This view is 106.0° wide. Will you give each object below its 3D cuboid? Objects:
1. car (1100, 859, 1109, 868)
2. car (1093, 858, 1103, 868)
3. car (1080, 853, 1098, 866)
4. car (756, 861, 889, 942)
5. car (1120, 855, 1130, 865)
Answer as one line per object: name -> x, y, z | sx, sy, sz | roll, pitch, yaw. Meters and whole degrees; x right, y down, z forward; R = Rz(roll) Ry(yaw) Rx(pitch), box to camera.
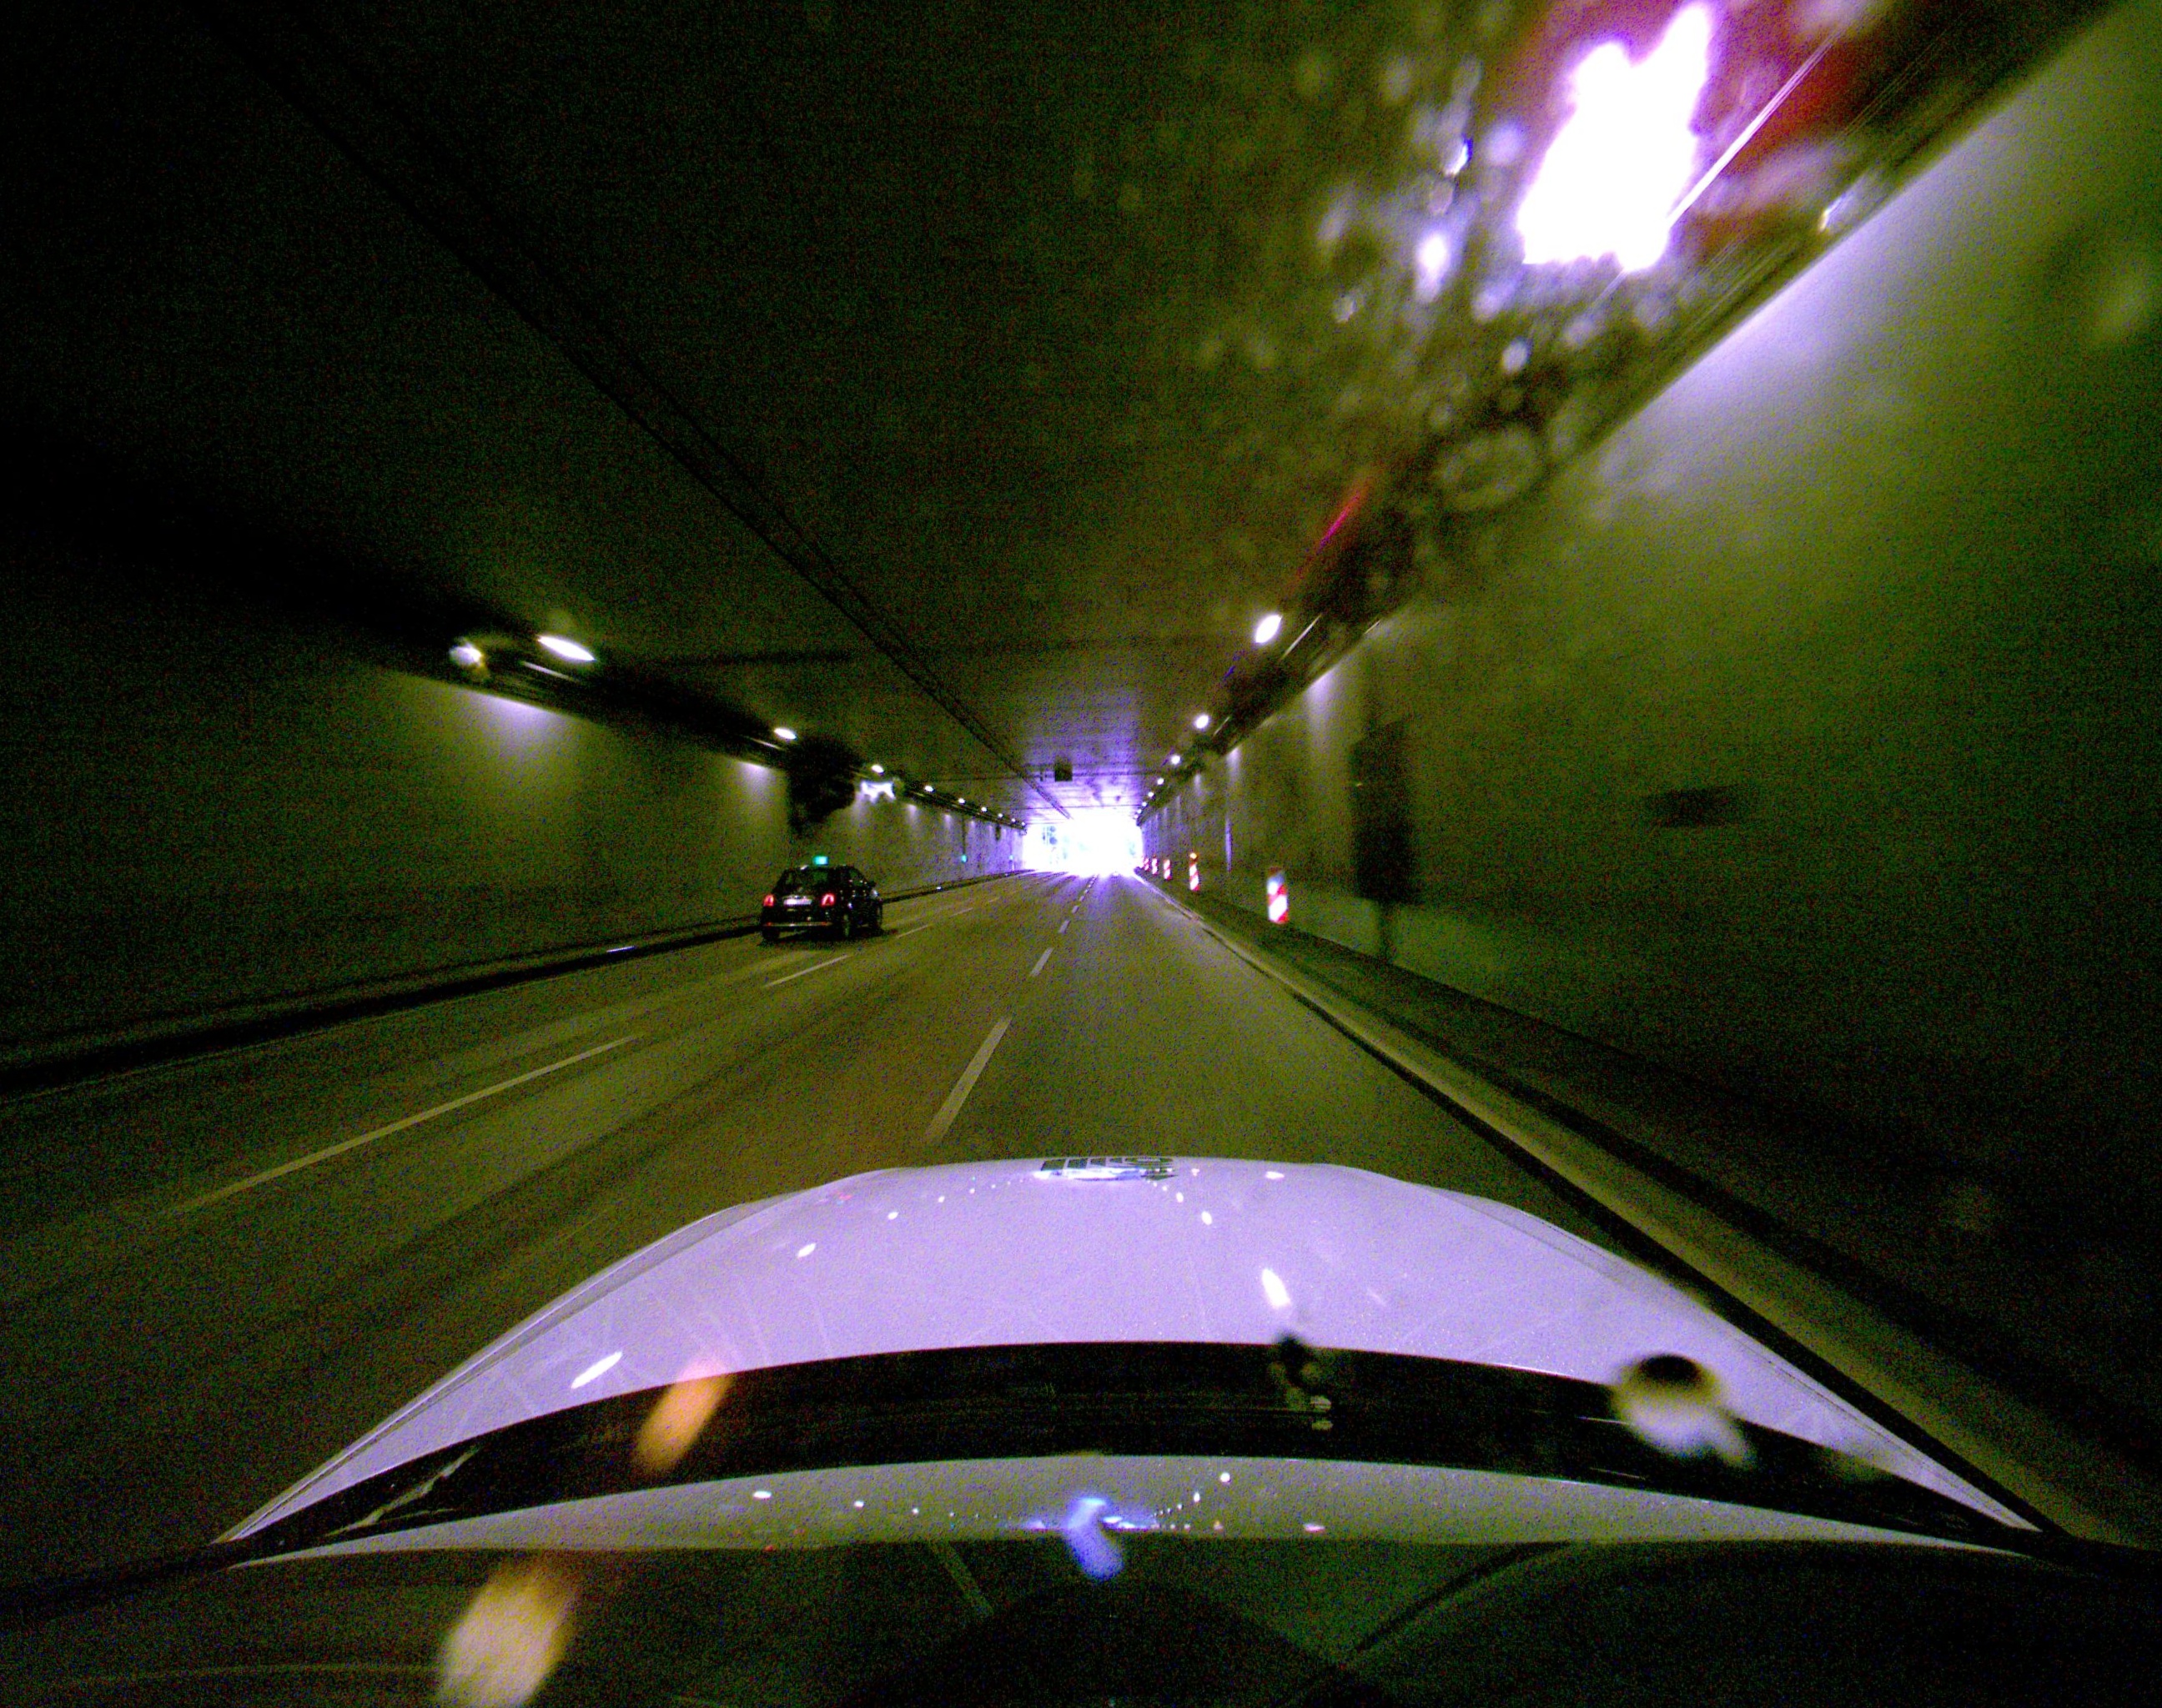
car -> 5.079, 2.048, 176.344 | 1.986, 2.014, 4.000 | 0, -2, 1
car -> 3.575, 1.787, 168.903 | 1.986, 2.014, 4.000 | 0, -2, 1
car -> 0.884, 0.646, 96.066 | 1.988, 1.448, 4.312 | 0, 0, -1
car -> -5.275, 0.902, 17.084 | 1.607, 1.454, 3.572 | -1, 0, 0
car -> 9.028, 1.309, 166.714 | 1.986, 2.014, 4.001 | 1, -1, 2
